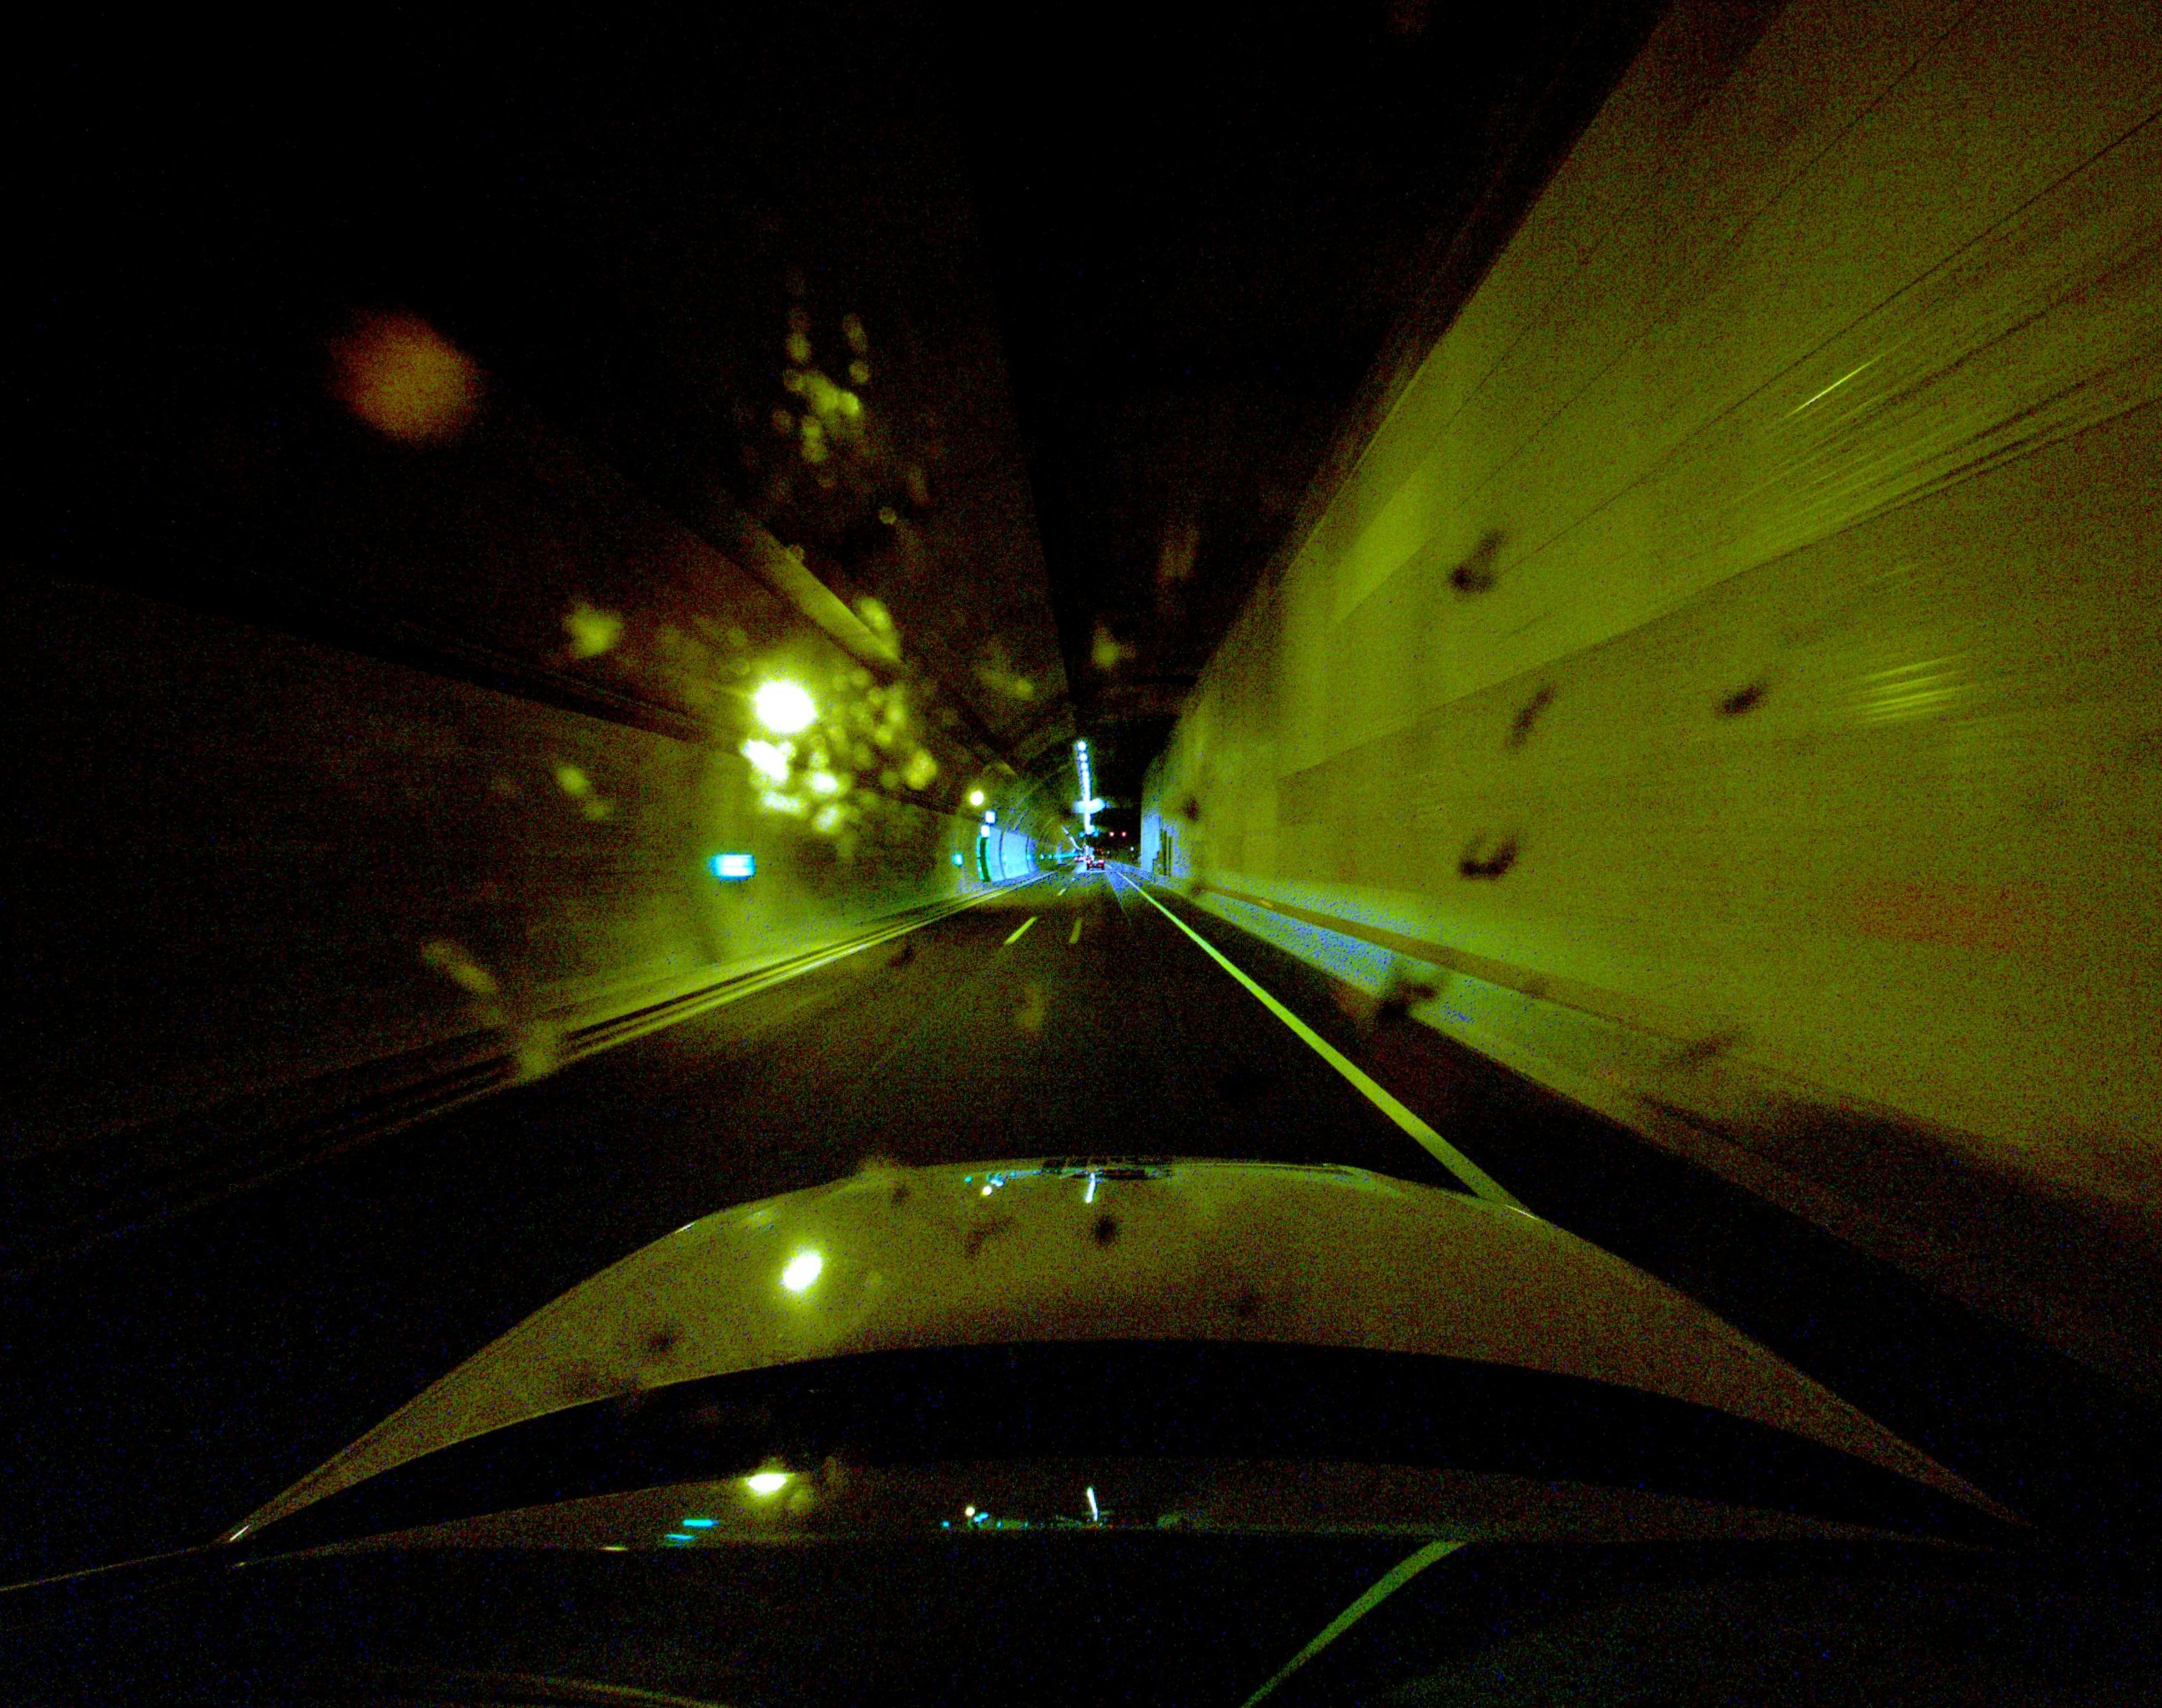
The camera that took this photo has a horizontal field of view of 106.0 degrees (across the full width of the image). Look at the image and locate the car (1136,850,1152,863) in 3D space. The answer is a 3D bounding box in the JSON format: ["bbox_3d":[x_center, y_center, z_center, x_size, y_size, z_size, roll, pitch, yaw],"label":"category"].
[{"bbox_3d":[9.703,0.426,125.851,1.747,1.845,4.639,-3,0,-4],"label":"car"}]

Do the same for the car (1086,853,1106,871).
[{"bbox_3d":[1.559,0.836,85.847,1.940,1.794,4.000,-2,0,1],"label":"car"}]

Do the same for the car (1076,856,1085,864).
[{"bbox_3d":[-0.124,1.320,174.151,1.924,1.687,4.000,-2,0,0],"label":"car"}]

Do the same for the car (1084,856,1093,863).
[{"bbox_3d":[1.775,1.256,188.089,1.924,1.687,3.999,-2,0,0],"label":"car"}]
